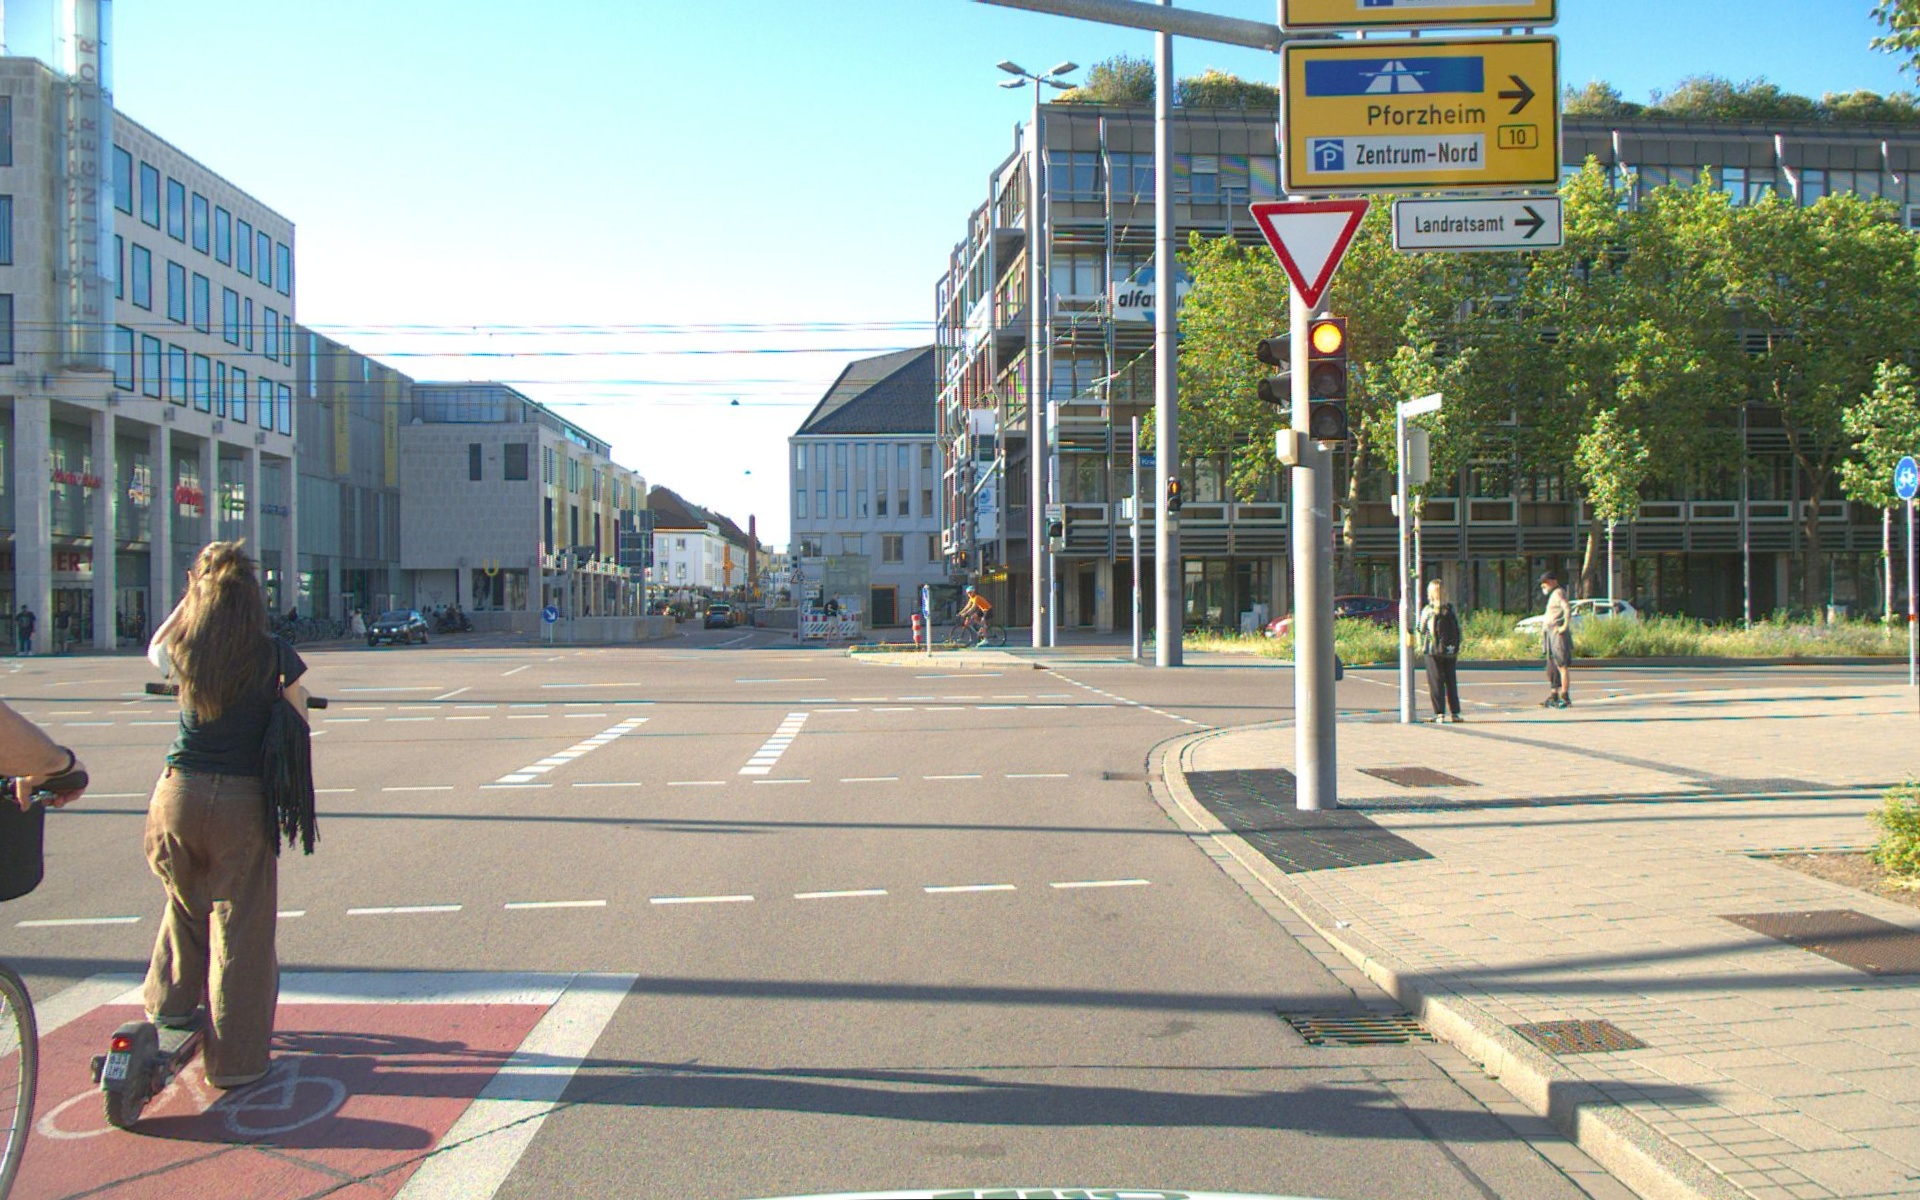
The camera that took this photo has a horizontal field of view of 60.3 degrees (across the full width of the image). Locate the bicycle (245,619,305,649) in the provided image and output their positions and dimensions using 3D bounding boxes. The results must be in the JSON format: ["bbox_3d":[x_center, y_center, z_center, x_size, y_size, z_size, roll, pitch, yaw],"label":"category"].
[{"bbox_3d":[-29.293,1.442,70.755,2.260,1.244,0.611,0,0,-3],"label":"bicycle"}]

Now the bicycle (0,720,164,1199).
[{"bbox_3d":[-2.087,0.865,2.925,0.475,1.176,1.831,1,0,-1],"label":"bicycle"}]

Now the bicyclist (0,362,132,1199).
[{"bbox_3d":[-1.983,0.461,2.850,0.647,1.750,0.865,1,-1,-1],"label":"bicyclist"}]

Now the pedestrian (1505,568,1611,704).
[{"bbox_3d":[7.666,0.453,21.226,0.866,1.694,0.958,1,-1,-22],"label":"pedestrian"}]

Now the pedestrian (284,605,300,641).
[{"bbox_3d":[-32.799,1.121,81.195,0.560,1.709,0.614,1,0,-10],"label":"pedestrian"}]

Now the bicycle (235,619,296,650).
[{"bbox_3d":[-29.128,1.439,69.402,2.260,1.244,0.611,0,0,-3],"label":"bicycle"}]

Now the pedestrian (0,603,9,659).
[{"bbox_3d":[-33.100,1.067,56.768,0.706,1.918,0.780,1,-1,-28],"label":"pedestrian"}]

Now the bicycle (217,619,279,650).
[{"bbox_3d":[-29.336,1.429,68.116,2.260,1.244,0.611,0,0,-3],"label":"bicycle"}]

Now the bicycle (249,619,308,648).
[{"bbox_3d":[-29.506,1.442,71.632,2.260,1.244,0.611,0,0,-3],"label":"bicycle"}]

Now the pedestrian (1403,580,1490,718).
[{"bbox_3d":[5.511,0.549,18.747,0.772,1.518,0.644,1,-1,-1],"label":"pedestrian"}]

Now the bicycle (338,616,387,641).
[{"bbox_3d":[-30.817,1.480,85.337,2.260,1.244,0.611,0,0,-3],"label":"bicycle"}]

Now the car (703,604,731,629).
[{"bbox_3d":[-15.825,1.066,107.945,1.705,1.558,3.849,1,0,-8],"label":"car"}]

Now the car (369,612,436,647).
[{"bbox_3d":[-23.380,1.212,69.483,1.597,1.365,3.998,-3,0,-3],"label":"car"}]

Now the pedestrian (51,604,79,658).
[{"bbox_3d":[-31.174,1.074,57.603,0.788,1.876,0.854,0,0,-33],"label":"pedestrian"}]

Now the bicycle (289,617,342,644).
[{"bbox_3d":[-30.715,1.453,78.818,2.260,1.244,0.611,0,0,-3],"label":"bicycle"}]

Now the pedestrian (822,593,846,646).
[{"bbox_3d":[-4.590,0.705,60.232,0.628,1.923,0.791,1,-1,14],"label":"pedestrian"}]

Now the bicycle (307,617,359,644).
[{"bbox_3d":[-30.336,1.465,80.050,2.260,1.244,0.611,0,0,-3],"label":"bicycle"}]

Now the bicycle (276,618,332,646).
[{"bbox_3d":[-29.606,1.454,74.697,2.260,1.244,0.611,0,0,-3],"label":"bicycle"}]

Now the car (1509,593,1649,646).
[{"bbox_3d":[19.552,0.616,52.329,3.825,1.613,1.656,1,0,-8],"label":"car"}]

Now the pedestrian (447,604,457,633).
[{"bbox_3d":[-30.099,1.081,98.078,0.512,1.709,0.581,1,0,-14],"label":"pedestrian"}]

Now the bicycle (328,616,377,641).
[{"bbox_3d":[-30.929,1.473,84.267,2.260,1.244,0.611,0,0,-3],"label":"bicycle"}]

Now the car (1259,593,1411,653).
[{"bbox_3d":[10.445,0.627,46.232,3.812,1.613,1.656,-1,0,-8],"label":"car"}]

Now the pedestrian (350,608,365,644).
[{"bbox_3d":[-29.266,1.251,80.319,0.639,1.749,0.447,0,0,-25],"label":"pedestrian"}]

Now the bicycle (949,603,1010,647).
[{"bbox_3d":[0.550,0.691,45.896,1.615,1.175,0.496,1,-1,-10],"label":"bicycle"}]

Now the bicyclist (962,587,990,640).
[{"bbox_3d":[0.447,0.380,45.878,0.698,1.462,0.496,1,-1,-10],"label":"bicyclist"}]

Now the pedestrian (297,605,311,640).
[{"bbox_3d":[-32.273,1.111,81.366,0.544,1.709,0.606,1,0,-11],"label":"pedestrian"}]

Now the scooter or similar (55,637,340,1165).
[{"bbox_3d":[-2.183,0.782,4.858,0.538,1.316,1.189,1,0,-15],"label":"scooter or similar"}]

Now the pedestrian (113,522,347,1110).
[{"bbox_3d":[-2.193,0.613,5.026,0.540,1.661,0.569,1,-1,-16],"label":"pedestrian"}]

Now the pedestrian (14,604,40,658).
[{"bbox_3d":[-32.865,1.082,58.262,0.787,1.876,0.856,0,0,-29],"label":"pedestrian"}]

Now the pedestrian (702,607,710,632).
[{"bbox_3d":[-17.913,1.370,116.842,0.511,1.709,0.582,1,0,-8],"label":"pedestrian"}]

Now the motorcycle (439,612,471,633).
[{"bbox_3d":[-29.761,1.335,97.475,1.775,1.228,0.509,1,0,-16],"label":"motorcycle"}]

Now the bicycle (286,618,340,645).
[{"bbox_3d":[-30.067,1.455,76.848,2.260,1.244,0.611,0,0,-3],"label":"bicycle"}]
